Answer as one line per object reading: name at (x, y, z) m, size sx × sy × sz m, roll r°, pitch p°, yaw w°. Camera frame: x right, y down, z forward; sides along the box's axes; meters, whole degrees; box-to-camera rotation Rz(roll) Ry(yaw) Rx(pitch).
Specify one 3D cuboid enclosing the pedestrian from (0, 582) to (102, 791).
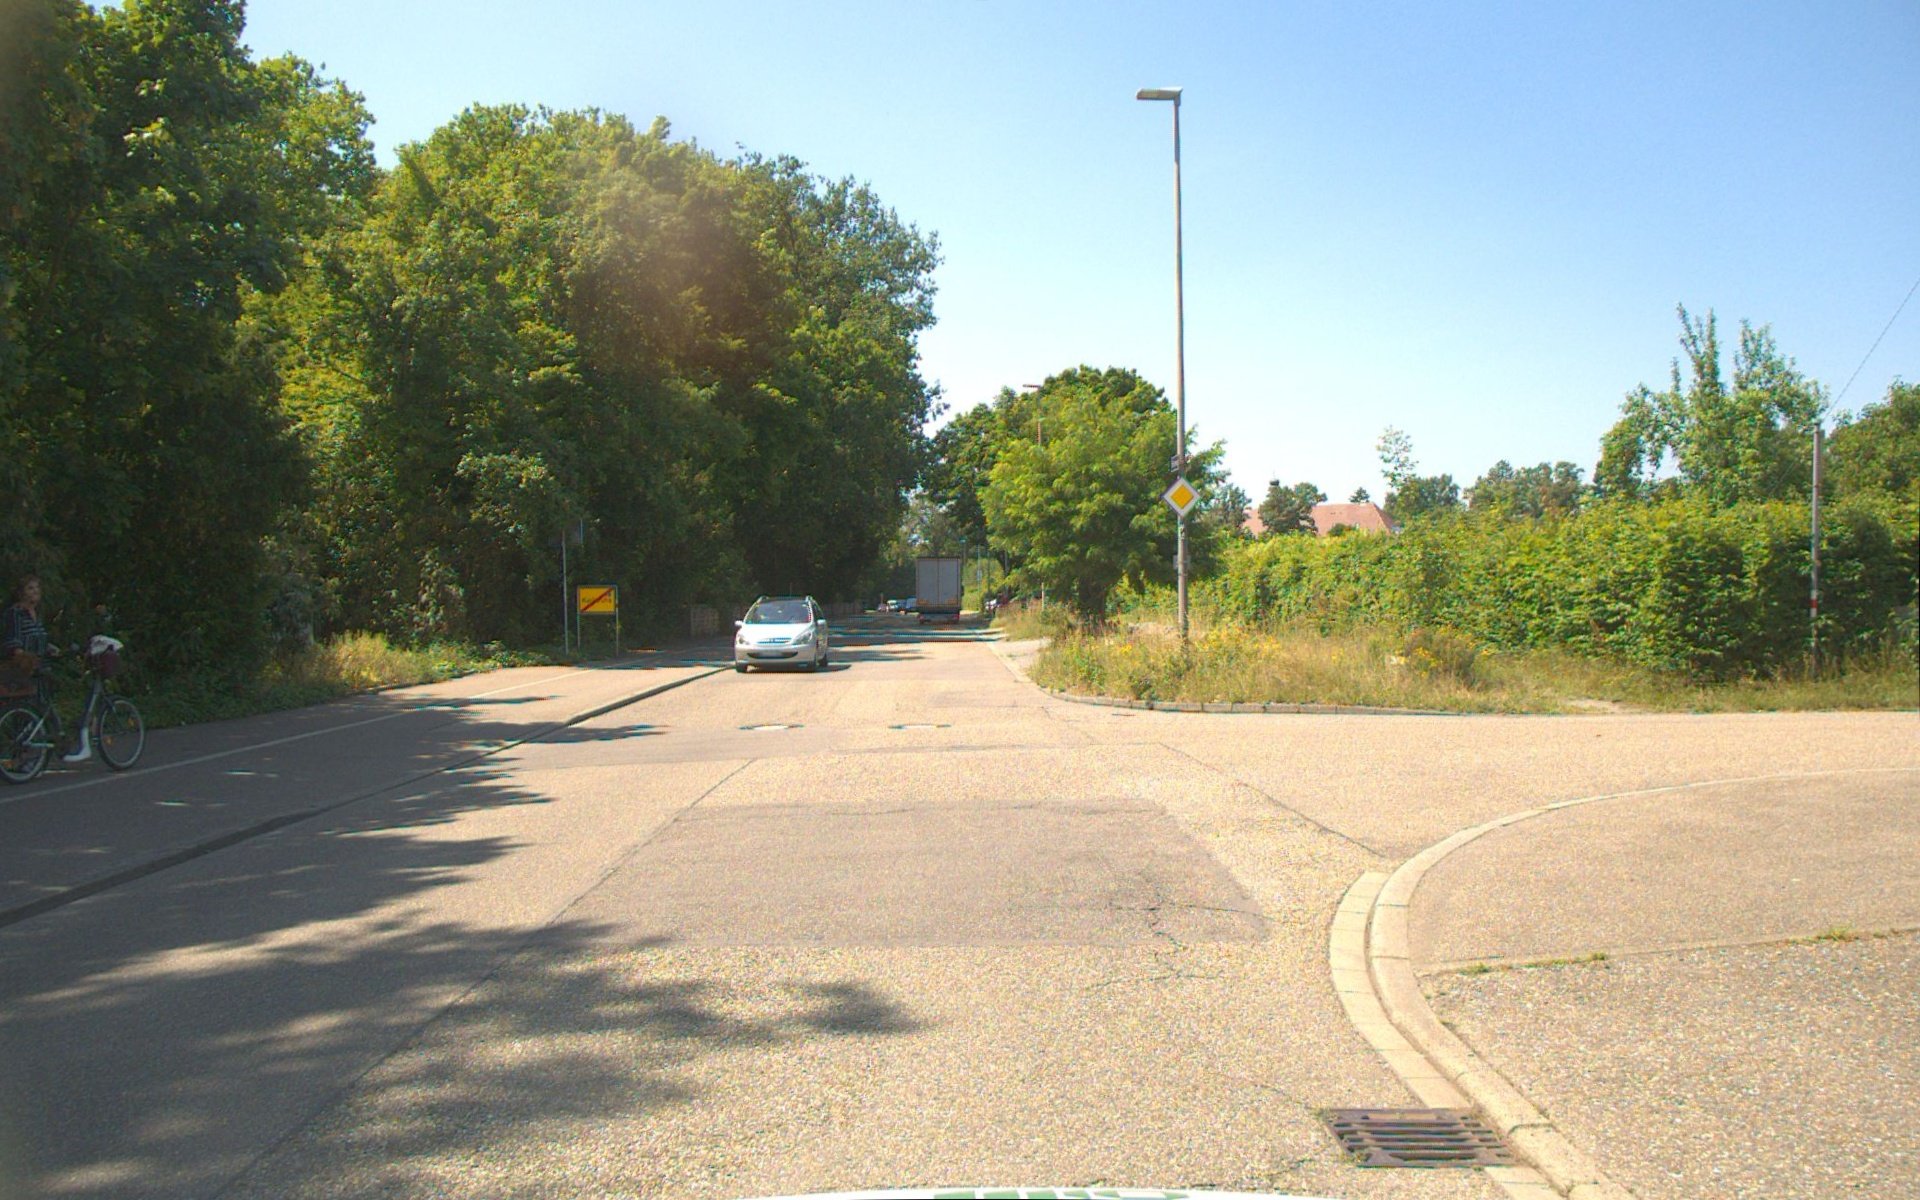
pedestrian at (-8.060, 0.723, 14.328) m, size 0.791 × 1.748 × 0.777 m, roll 0°, pitch 0°, yaw 15°

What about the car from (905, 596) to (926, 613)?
car at (-4.608, 0.452, 171.477) m, size 1.953 × 1.713 × 4.262 m, roll -2°, pitch 0°, yaw 0°

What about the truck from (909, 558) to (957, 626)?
truck at (-1.529, -0.513, 99.460) m, size 2.677 × 3.811 × 13.244 m, roll 0°, pitch 0°, yaw 0°

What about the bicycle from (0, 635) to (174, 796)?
bicycle at (-7.729, 0.955, 14.410) m, size 0.510 × 1.258 × 1.963 m, roll 0°, pitch 0°, yaw 11°

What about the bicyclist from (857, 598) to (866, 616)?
bicyclist at (-9.688, 0.668, 163.167) m, size 0.815 × 1.746 × 0.957 m, roll -1°, pitch 0°, yaw 0°

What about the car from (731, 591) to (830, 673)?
car at (-3.827, 0.637, 35.893) m, size 1.755 × 1.600 × 4.271 m, roll -1°, pitch 1°, yaw -1°

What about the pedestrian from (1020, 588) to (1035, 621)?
pedestrian at (3.619, 0.244, 88.789) m, size 0.724 × 1.769 × 0.885 m, roll -1°, pitch 0°, yaw -2°

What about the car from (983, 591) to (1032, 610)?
car at (4.091, 0.049, 141.628) m, size 4.110 × 1.470 × 1.739 m, roll -2°, pitch 0°, yaw 0°

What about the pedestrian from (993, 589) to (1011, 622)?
pedestrian at (2.220, 0.283, 87.638) m, size 0.846 × 1.706 × 0.885 m, roll -1°, pitch 0°, yaw -2°

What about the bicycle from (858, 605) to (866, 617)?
bicycle at (-9.679, 1.078, 163.148) m, size 0.703 × 1.179 × 2.230 m, roll -1°, pitch 0°, yaw 0°

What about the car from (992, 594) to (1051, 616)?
car at (4.328, 0.354, 117.049) m, size 4.110 × 1.470 × 1.739 m, roll -2°, pitch 0°, yaw 0°
